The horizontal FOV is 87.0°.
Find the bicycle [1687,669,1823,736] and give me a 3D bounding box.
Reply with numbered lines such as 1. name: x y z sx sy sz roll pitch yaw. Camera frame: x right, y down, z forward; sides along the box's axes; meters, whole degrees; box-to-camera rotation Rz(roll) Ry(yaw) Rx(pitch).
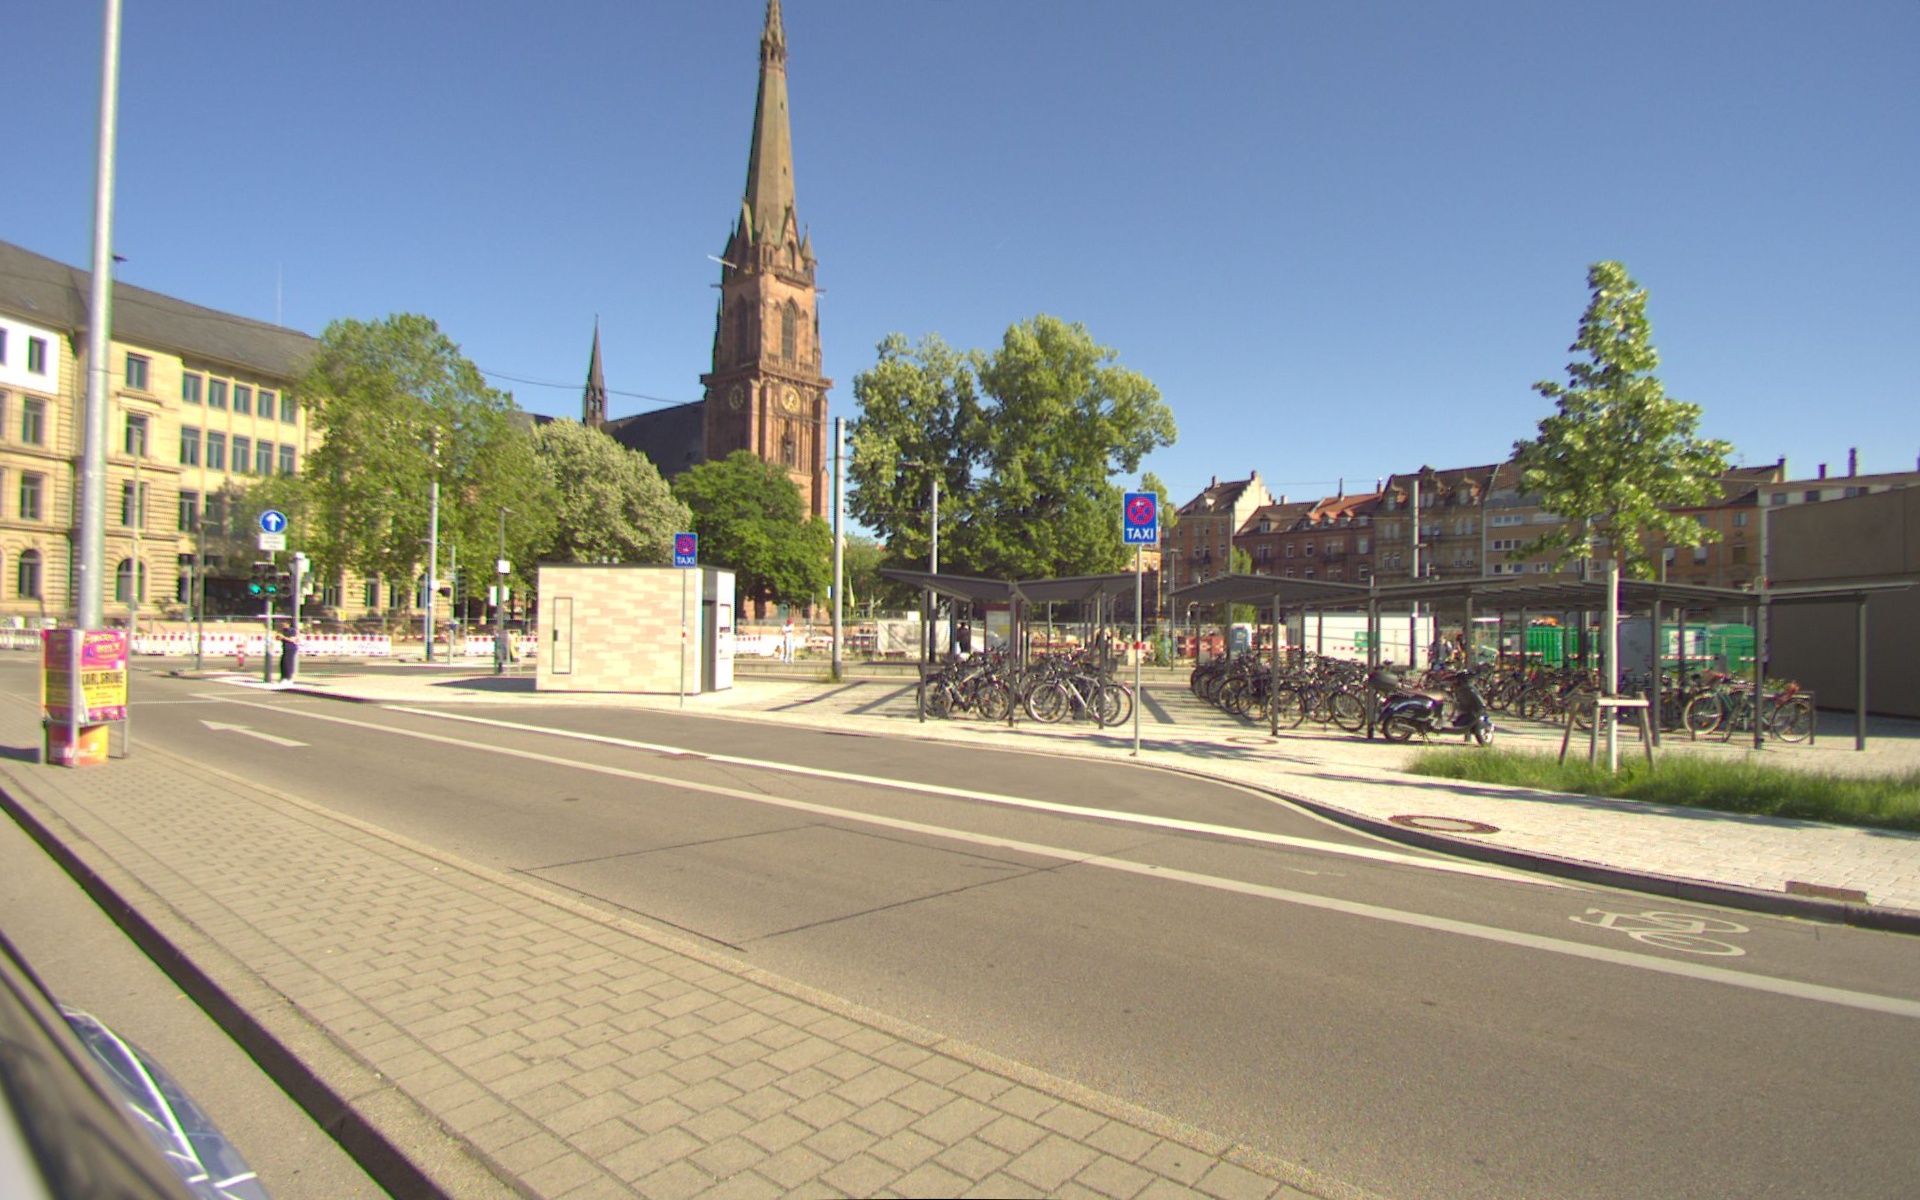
1. bicycle: 13.391 1.724 17.081 1.765 1.046 0.567 1 -3 4

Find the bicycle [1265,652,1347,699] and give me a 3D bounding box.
1. bicycle: 8.276 1.797 24.233 1.765 1.046 0.567 1 -3 4

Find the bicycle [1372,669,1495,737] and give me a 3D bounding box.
1. bicycle: 7.855 1.693 16.834 1.765 1.046 0.567 1 -3 4

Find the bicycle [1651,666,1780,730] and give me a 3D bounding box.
1. bicycle: 13.597 1.752 18.247 1.769 1.046 0.566 1 -3 12

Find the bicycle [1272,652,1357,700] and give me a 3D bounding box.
1. bicycle: 8.246 1.757 23.597 1.765 1.046 0.567 1 -3 4

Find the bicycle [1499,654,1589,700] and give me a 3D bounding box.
1. bicycle: 13.837 1.817 23.988 1.765 1.046 0.567 1 -3 4

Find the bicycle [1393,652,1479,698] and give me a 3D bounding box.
1. bicycle: 11.382 1.783 24.216 1.765 1.046 0.567 1 -3 4

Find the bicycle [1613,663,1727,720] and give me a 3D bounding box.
1. bicycle: 13.802 1.771 19.702 1.765 1.046 0.567 1 -3 4

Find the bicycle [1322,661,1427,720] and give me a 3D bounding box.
1. bicycle: 7.966 1.730 19.481 1.765 1.046 0.567 1 -3 4

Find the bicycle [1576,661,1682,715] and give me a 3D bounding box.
1. bicycle: 13.849 1.818 20.987 1.765 1.046 0.567 1 -3 4

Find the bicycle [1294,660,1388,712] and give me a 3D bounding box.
1. bicycle: 8.117 1.826 21.594 1.765 1.046 0.567 1 -3 4

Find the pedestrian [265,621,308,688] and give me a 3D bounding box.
1. pedestrian: -17.576 1.401 26.410 0.648 1.693 0.779 -1 0 42

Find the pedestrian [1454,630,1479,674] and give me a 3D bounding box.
1. pedestrian: 17.687 1.803 35.346 0.581 1.530 0.559 1 -2 6

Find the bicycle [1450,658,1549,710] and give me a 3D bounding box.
1. bicycle: 11.377 1.764 21.371 1.765 1.046 0.567 1 -3 4

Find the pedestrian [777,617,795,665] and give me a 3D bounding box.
1. pedestrian: -6.440 1.529 37.414 0.529 1.736 0.684 0 -6 -19

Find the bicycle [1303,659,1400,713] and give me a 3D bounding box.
1. bicycle: 8.068 1.769 20.878 1.765 1.046 0.567 1 -3 4

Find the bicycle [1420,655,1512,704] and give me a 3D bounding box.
1. bicycle: 11.417 1.792 22.881 1.765 1.046 0.567 1 -3 4

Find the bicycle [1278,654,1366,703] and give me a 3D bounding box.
1. bicycle: 8.203 1.777 22.962 1.765 1.046 0.567 1 -3 4

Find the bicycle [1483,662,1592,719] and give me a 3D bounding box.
1. bicycle: 11.292 1.765 19.821 1.765 1.046 0.567 1 -3 4

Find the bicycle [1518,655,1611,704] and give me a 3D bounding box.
1. bicycle: 13.891 1.817 23.273 1.765 1.046 0.567 1 -3 4

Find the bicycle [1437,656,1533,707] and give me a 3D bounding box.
1. bicycle: 11.439 1.778 22.088 1.765 1.046 0.567 1 -3 4

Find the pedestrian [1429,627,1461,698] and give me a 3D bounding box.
1. pedestrian: 12.060 1.545 25.154 0.617 1.736 0.673 -1 -2 36

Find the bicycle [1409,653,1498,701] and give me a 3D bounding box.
1. bicycle: 11.450 1.786 23.502 1.765 1.046 0.567 1 -3 4

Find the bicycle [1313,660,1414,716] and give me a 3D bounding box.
1. bicycle: 8.025 1.748 20.168 1.765 1.046 0.567 1 -3 4

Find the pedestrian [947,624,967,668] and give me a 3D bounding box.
1. pedestrian: -0.121 1.765 39.101 0.518 1.667 0.559 -1 0 41

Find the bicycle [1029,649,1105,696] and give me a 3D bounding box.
1. bicycle: 2.542 1.720 24.179 1.765 1.046 0.567 1 -3 4

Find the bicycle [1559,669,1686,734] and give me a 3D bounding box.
1. bicycle: 11.457 1.753 17.534 1.765 1.046 0.567 1 -3 4

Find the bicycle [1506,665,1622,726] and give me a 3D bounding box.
1. bicycle: 11.217 1.766 18.825 1.765 1.046 0.567 1 -3 4

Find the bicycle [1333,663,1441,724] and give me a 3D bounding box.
1. bicycle: 7.933 1.731 18.844 1.765 1.046 0.567 1 -3 4

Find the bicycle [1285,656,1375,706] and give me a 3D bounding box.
1. bicycle: 8.154 1.785 22.360 1.765 1.046 0.567 1 -3 4

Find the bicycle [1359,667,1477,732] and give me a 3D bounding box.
1. bicycle: 7.898 1.714 17.497 1.765 1.046 0.567 1 -3 4

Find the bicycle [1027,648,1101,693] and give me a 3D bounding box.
1. bicycle: 2.534 1.717 24.811 1.765 1.046 0.567 1 -3 4

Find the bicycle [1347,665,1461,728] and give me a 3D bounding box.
1. bicycle: 7.923 1.707 18.101 1.765 1.046 0.567 1 -3 4

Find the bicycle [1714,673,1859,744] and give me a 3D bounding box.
1. bicycle: 13.164 1.719 16.147 1.765 1.046 0.567 1 -3 4
